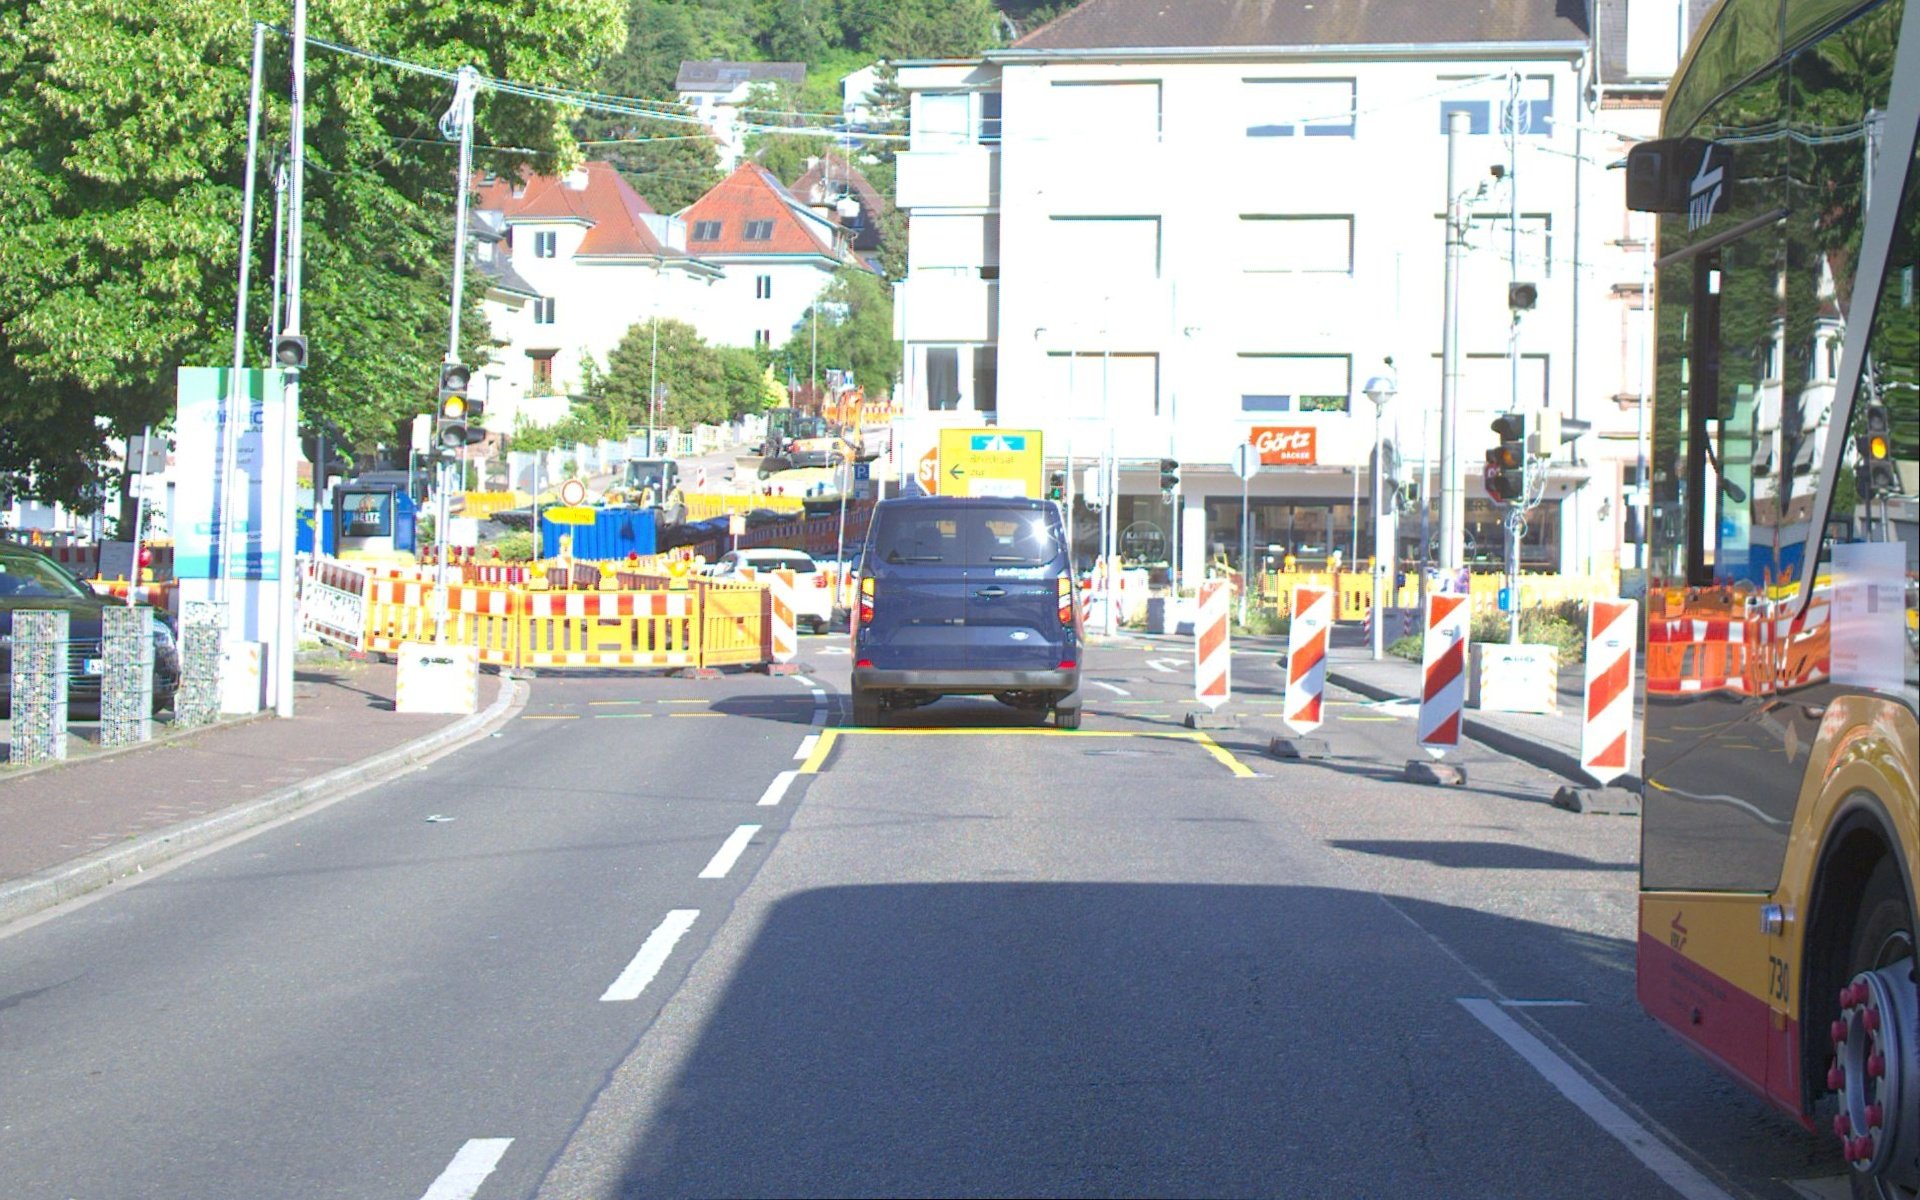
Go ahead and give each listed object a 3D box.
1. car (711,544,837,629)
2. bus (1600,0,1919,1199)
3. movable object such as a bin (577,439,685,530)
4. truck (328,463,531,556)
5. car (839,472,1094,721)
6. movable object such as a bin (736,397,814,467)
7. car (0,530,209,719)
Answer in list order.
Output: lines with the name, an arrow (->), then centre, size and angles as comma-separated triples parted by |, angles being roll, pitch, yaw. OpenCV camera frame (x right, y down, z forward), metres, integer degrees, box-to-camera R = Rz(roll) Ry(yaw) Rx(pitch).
car -> -3.248, -0.254, 59.372 | 1.794, 1.405, 4.001 | 0, 1, -8
bus -> 3.146, -0.196, 3.688 | 2.688, 3.404, 12.019 | 1, 1, 0
movable object such as a bin -> -10.050, -3.531, 105.409 | 2.192, 2.681, 3.998 | 1, 1, 12
truck -> -14.533, -2.442, 94.984 | 2.357, 2.407, 9.147 | 1, 1, 13
car -> 0.064, -0.026, 30.896 | 2.062, 2.007, 5.000 | 1, 0, 0
movable object such as a bin -> -7.517, -6.833, 139.873 | 2.192, 2.681, 3.998 | 1, 1, 12
car -> -8.350, 0.134, 29.082 | 1.905, 1.449, 4.311 | 1, 1, -44
